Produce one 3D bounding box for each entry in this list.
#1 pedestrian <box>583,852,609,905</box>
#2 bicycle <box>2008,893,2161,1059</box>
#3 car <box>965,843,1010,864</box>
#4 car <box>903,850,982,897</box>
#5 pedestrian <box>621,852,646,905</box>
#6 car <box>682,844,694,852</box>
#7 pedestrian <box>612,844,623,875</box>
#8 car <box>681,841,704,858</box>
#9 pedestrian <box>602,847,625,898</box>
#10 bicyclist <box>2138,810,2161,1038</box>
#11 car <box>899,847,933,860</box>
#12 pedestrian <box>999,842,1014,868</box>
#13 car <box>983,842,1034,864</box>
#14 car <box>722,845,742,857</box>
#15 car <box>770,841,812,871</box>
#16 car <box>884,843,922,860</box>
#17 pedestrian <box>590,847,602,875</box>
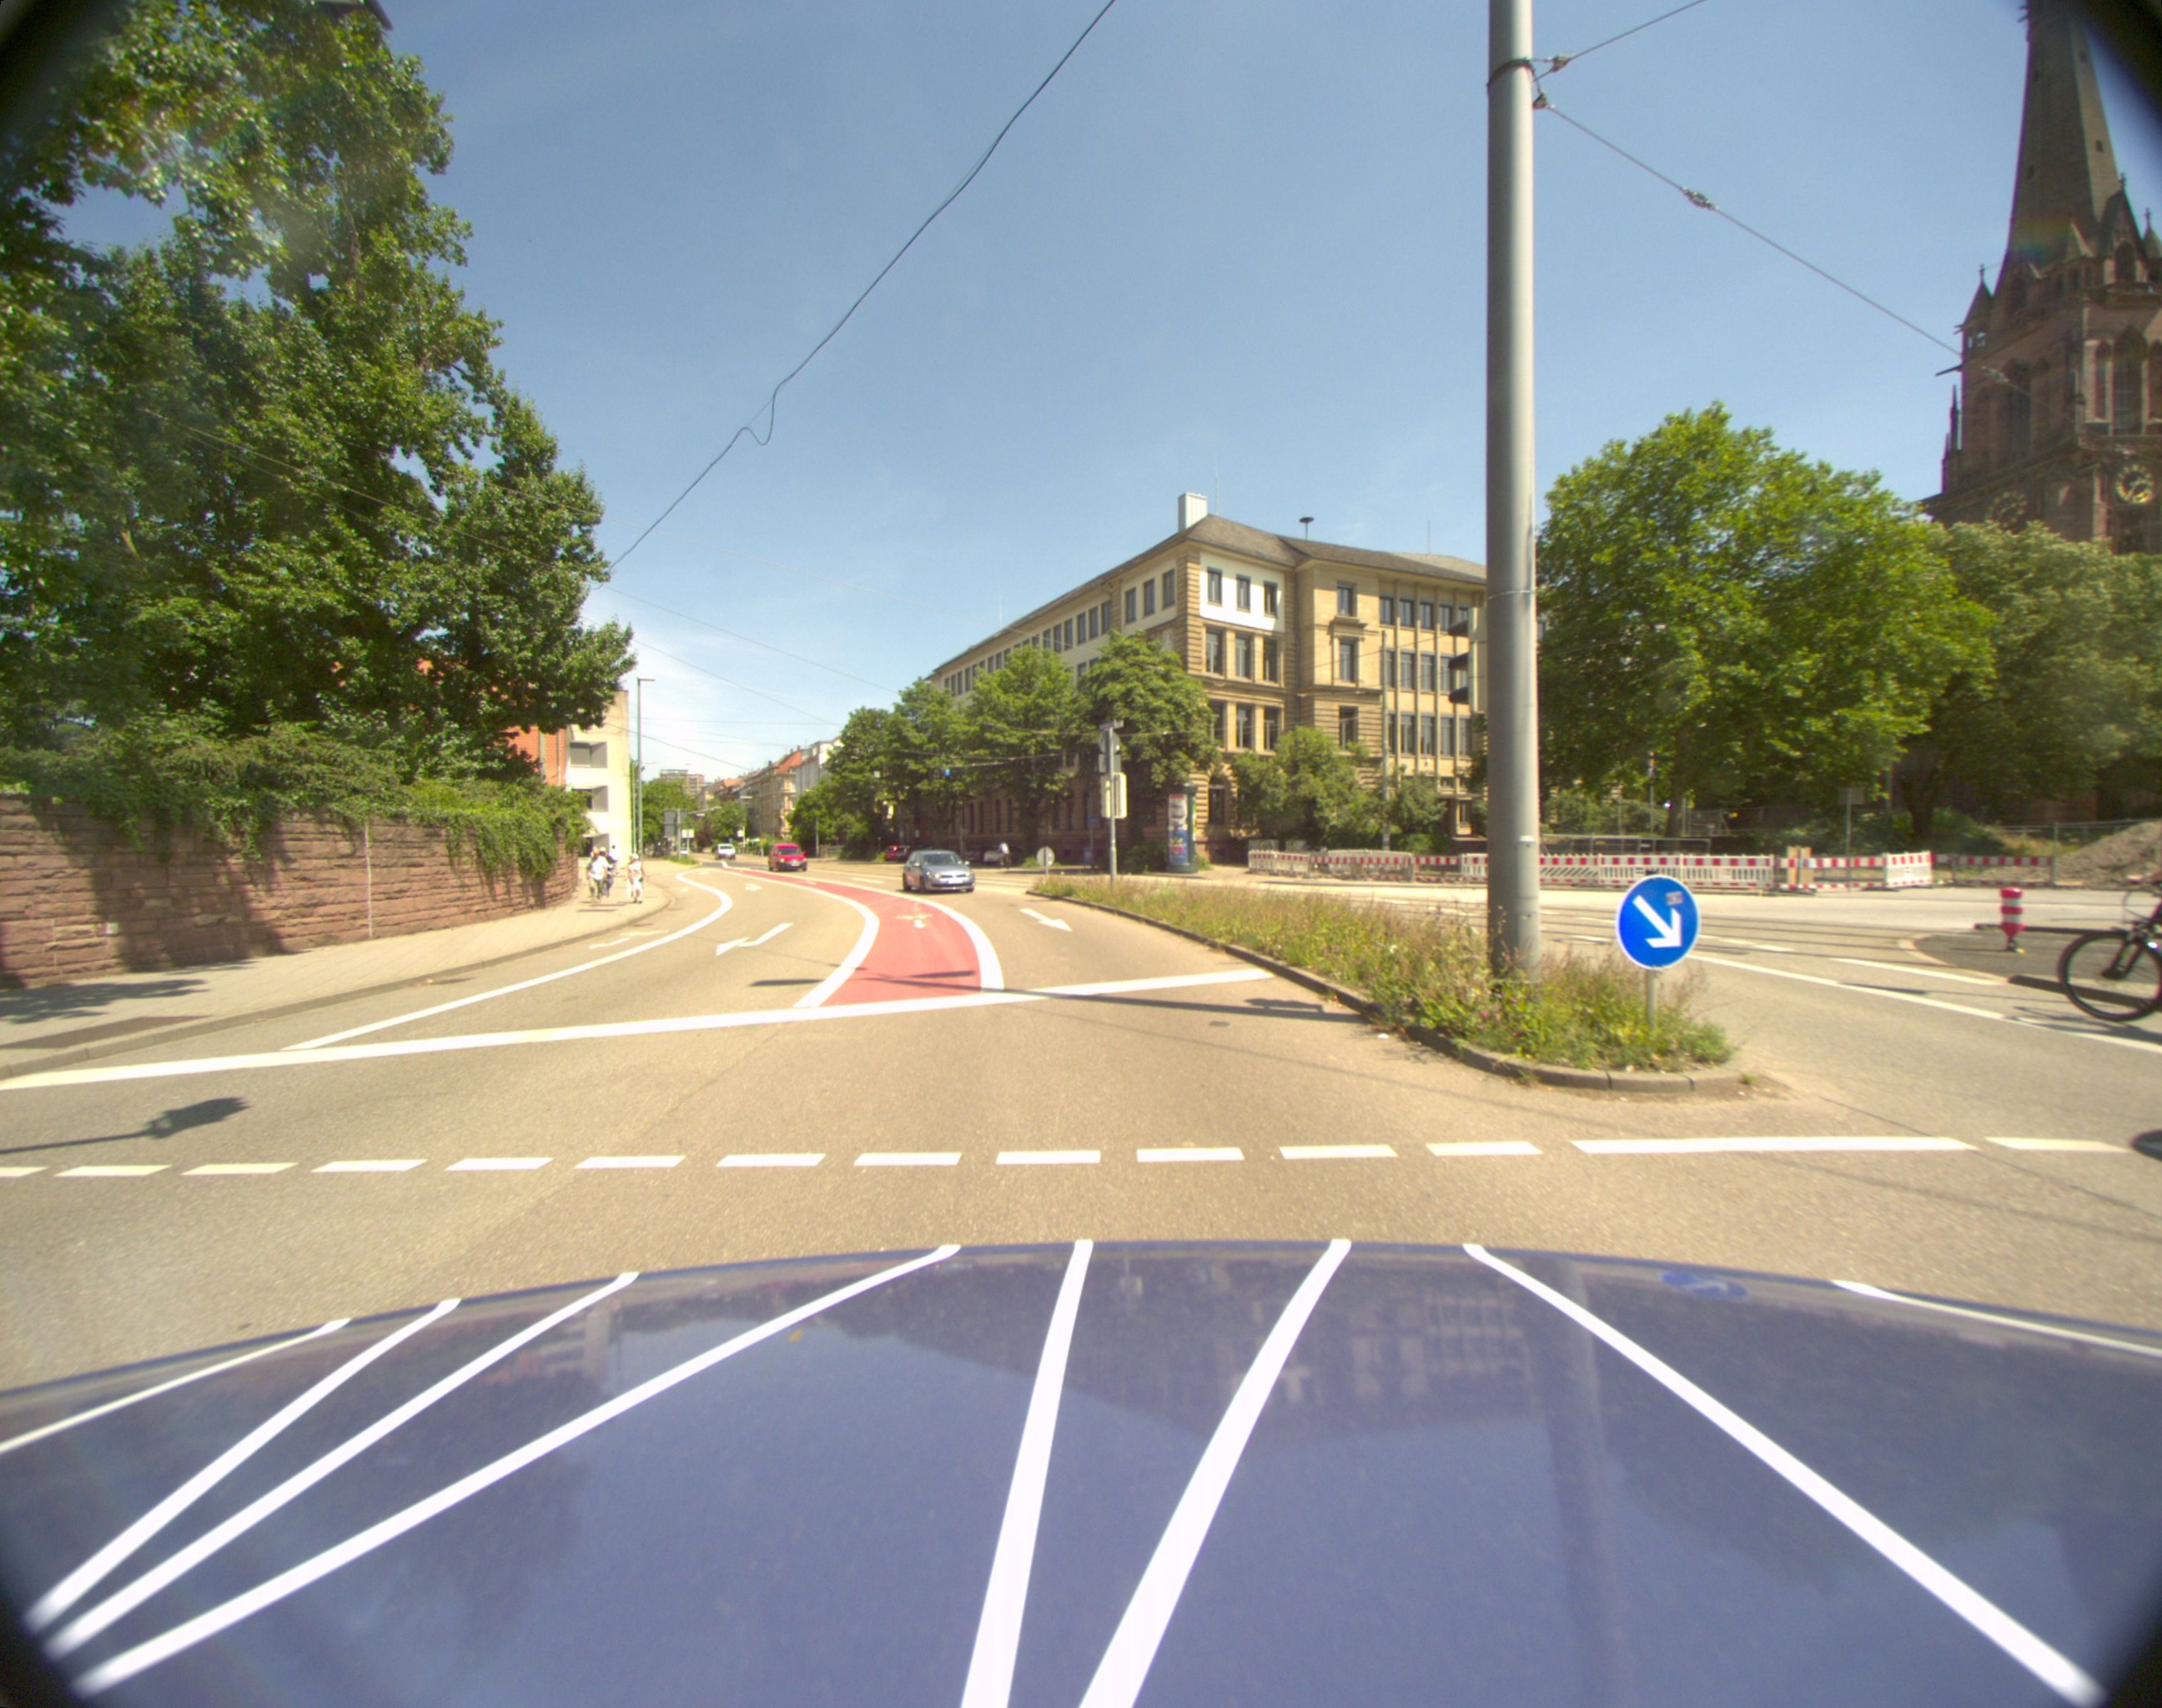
[{"bbox_3d":[-14.668,0.737,23.002,0.606,1.601,0.557,1,0,-29],"label":"pedestrian"},{"bbox_3d":[8.165,0.929,5.422,0.589,1.144,2.009,1,1,0],"label":"bicycle"},{"bbox_3d":[-7.205,-0.064,58.636,1.567,1.454,3.156,-2,2,40],"label":"car"},{"bbox_3d":[-4.871,0.595,26.361,1.835,1.406,3.986,-2,2,-23],"label":"car"},{"bbox_3d":[-13.626,0.741,23.139,0.606,1.601,0.557,1,0,-29],"label":"pedestrian"},{"bbox_3d":[-69.688,-1.079,134.645,1.429,1.317,2.980,-4,2,-33],"label":"car"},{"bbox_3d":[-26.447,0.320,43.358,0.490,1.702,0.520,1,0,-30],"label":"pedestrian"},{"bbox_3d":[-40.221,-0.465,78.586,1.821,1.698,3.990,-1,1,-32],"label":"car"},{"bbox_3d":[-15.797,0.628,25.687,0.606,1.702,0.557,1,0,-30],"label":"pedestrian"},{"bbox_3d":[8.174,0.520,5.235,0.587,1.656,0.799,1,2,0],"label":"bicyclist"},{"bbox_3d":[-15.689,-0.018,72.408,1.277,1.093,2.995,-2,2,40],"label":"car"},{"bbox_3d":[-4.793,0.043,48.711,0.725,1.661,0.642,-1,2,-27],"label":"pedestrian"},{"bbox_3d":[-5.364,-0.100,56.596,1.567,1.412,3.559,-1,2,42],"label":"car"},{"bbox_3d":[-41.405,-0.376,90.086,1.836,1.384,4.268,-1,1,-29],"label":"car"},{"bbox_3d":[-18.871,0.138,49.295,1.836,1.756,4.269,-4,1,-29],"label":"car"},{"bbox_3d":[-17.806,-0.252,75.977,1.611,1.444,3.584,-2,1,30],"label":"car"},{"bbox_3d":[-27.348,0.403,42.853,0.490,1.596,0.557,1,0,-30],"label":"pedestrian"}]
